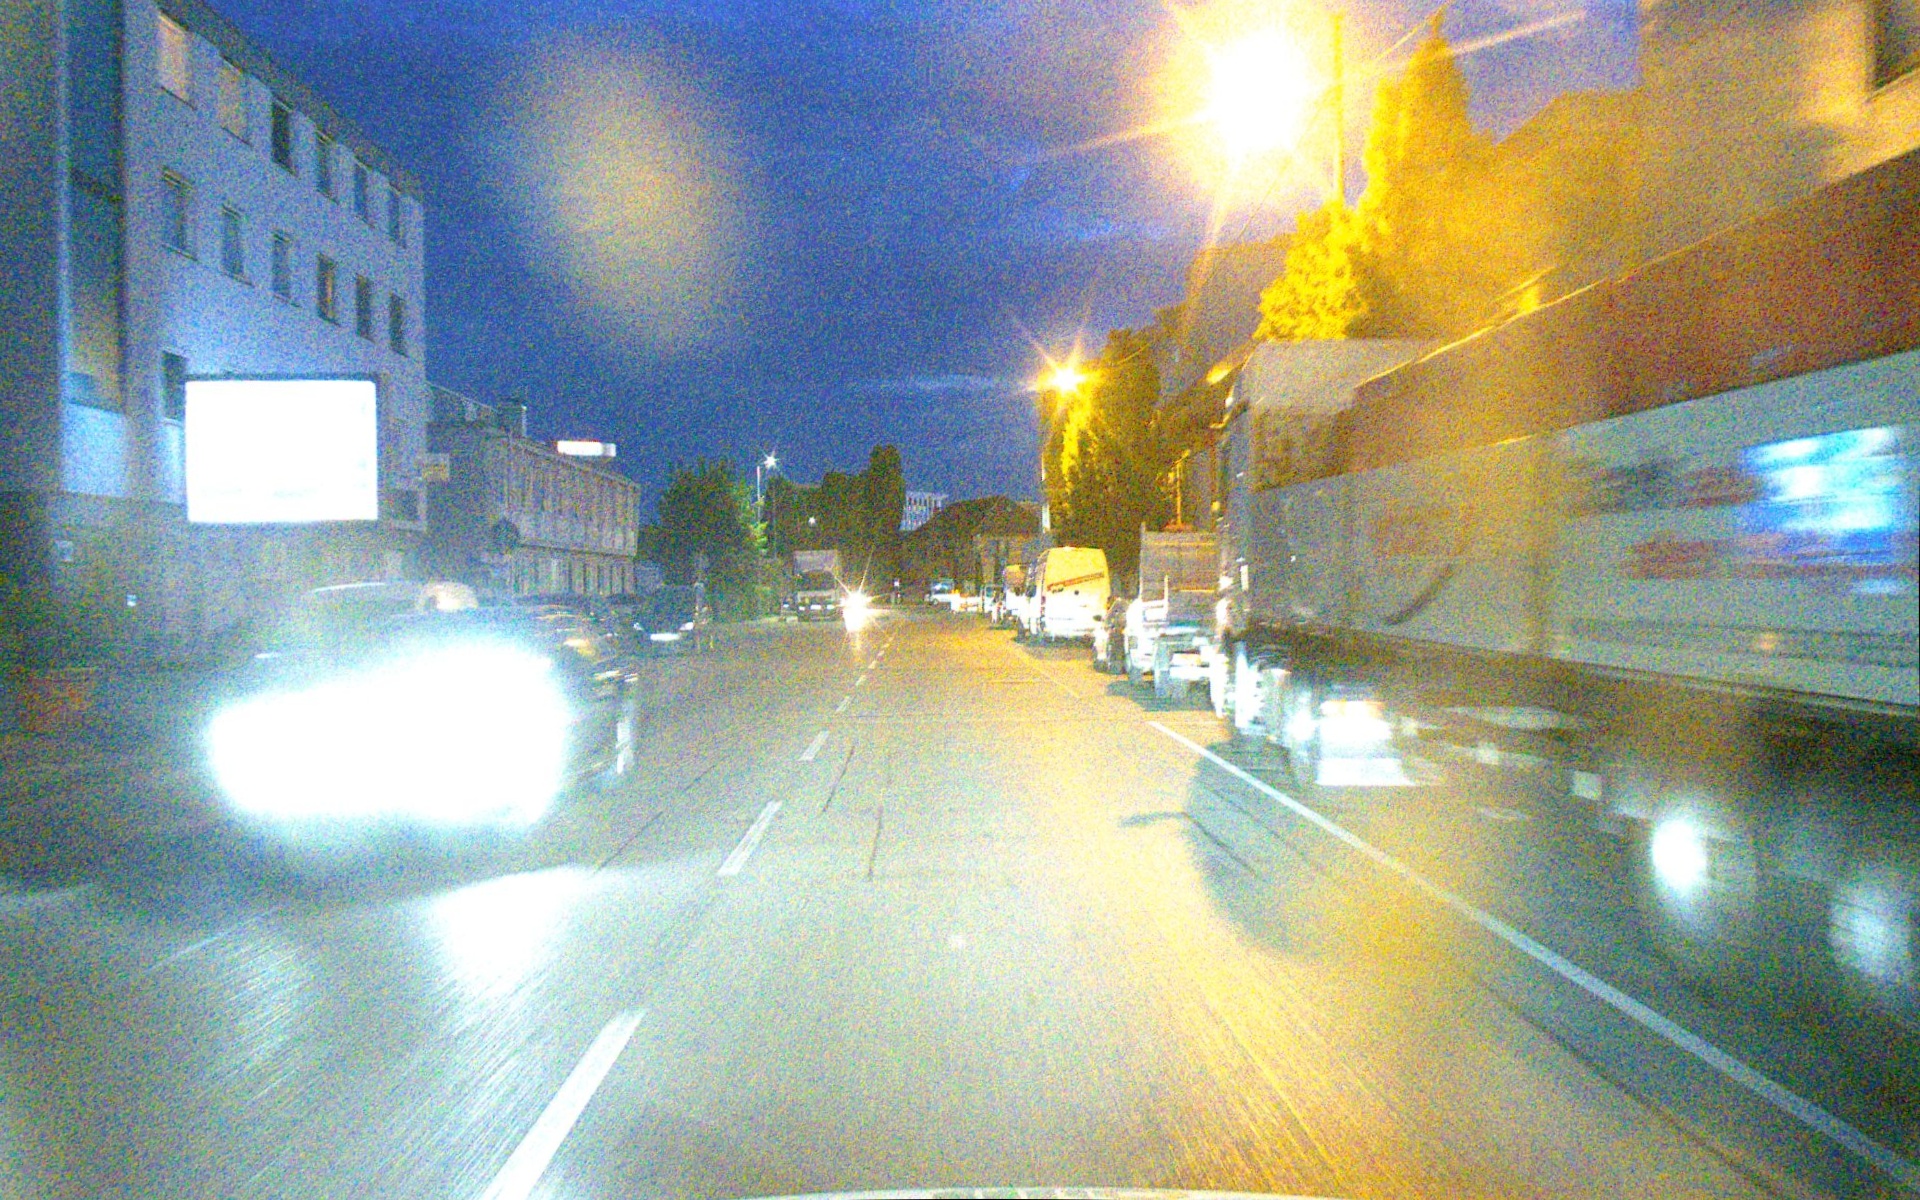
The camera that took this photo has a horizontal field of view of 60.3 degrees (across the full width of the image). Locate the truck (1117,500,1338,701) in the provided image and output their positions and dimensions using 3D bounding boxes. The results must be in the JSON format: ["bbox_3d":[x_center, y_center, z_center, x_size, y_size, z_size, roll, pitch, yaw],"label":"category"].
[{"bbox_3d":[3.850,-0.016,25.162,2.352,2.639,6.597,0,0,0],"label":"truck"}]

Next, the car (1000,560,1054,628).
[{"bbox_3d":[2.681,-0.235,67.321,1.952,2.570,5.910,2,0,1],"label":"car"}]

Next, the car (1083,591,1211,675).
[{"bbox_3d":[3.541,0.581,32.207,1.793,1.432,4.907,2,0,-1],"label":"car"}]

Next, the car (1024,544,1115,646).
[{"bbox_3d":[2.998,-0.143,46.634,1.953,2.616,6.012,2,0,-1],"label":"car"}]

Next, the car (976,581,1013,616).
[{"bbox_3d":[2.057,-0.088,99.588,1.953,2.049,4.910,-1,0,-1],"label":"car"}]

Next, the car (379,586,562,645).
[{"bbox_3d":[-12.855,0.389,43.499,4.355,1.465,1.775,-1,0,-31],"label":"car"}]

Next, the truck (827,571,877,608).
[{"bbox_3d":[-11.758,-1.093,178.864,2.717,3.849,9.076,-1,0,-22],"label":"truck"}]

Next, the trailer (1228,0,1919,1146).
[{"bbox_3d":[3.922,-0.418,7.866,2.709,3.829,14.653,1,0,-1],"label":"trailer"}]

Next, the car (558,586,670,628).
[{"bbox_3d":[-14.299,0.267,68.378,4.042,1.457,1.898,4,1,17],"label":"car"}]

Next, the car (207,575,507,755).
[{"bbox_3d":[-6.847,0.647,19.397,1.767,1.830,4.877,-1,0,-1],"label":"car"}]

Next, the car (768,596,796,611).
[{"bbox_3d":[-17.072,0.360,158.355,1.787,1.395,4.337,-1,0,-19],"label":"car"}]

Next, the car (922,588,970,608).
[{"bbox_3d":[-1.415,-0.186,162.147,4.269,1.674,1.879,-4,2,-23],"label":"car"}]

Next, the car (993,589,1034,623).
[{"bbox_3d":[2.534,0.264,79.324,1.906,1.515,5.011,-1,0,1],"label":"car"}]

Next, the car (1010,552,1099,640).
[{"bbox_3d":[2.974,-0.149,53.432,2.086,2.616,5.905,2,0,-4],"label":"car"}]

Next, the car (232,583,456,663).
[{"bbox_3d":[-13.138,0.464,35.292,4.346,1.587,1.984,-1,0,-26],"label":"car"}]

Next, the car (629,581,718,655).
[{"bbox_3d":[-7.663,0.459,44.580,1.777,1.881,4.413,-1,0,-2],"label":"car"}]

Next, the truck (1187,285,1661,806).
[{"bbox_3d":[3.801,-0.397,14.866,2.709,3.829,5.227,1,0,-1],"label":"truck"}]

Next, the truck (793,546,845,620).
[{"bbox_3d":[-8.193,-0.963,96.780,2.691,4.104,9.554,0,0,-3],"label":"truck"}]

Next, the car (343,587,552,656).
[{"bbox_3d":[-12.636,0.495,40.848,4.608,1.578,1.980,-1,0,-31],"label":"car"}]

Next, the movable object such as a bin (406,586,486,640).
[{"bbox_3d":[-14.807,0.371,47.737,1.819,1.526,1.609,0,0,-1],"label":"movable object such as a bin"}]

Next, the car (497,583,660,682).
[{"bbox_3d":[-7.162,0.554,31.538,1.907,1.718,4.816,-1,0,1],"label":"car"}]

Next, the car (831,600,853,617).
[{"bbox_3d":[-10.403,0.754,146.354,1.820,1.445,3.998,-1,0,-2],"label":"car"}]

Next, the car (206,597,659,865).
[{"bbox_3d":[-3.381,0.737,11.550,1.783,1.462,4.397,-1,0,-1],"label":"car"}]
